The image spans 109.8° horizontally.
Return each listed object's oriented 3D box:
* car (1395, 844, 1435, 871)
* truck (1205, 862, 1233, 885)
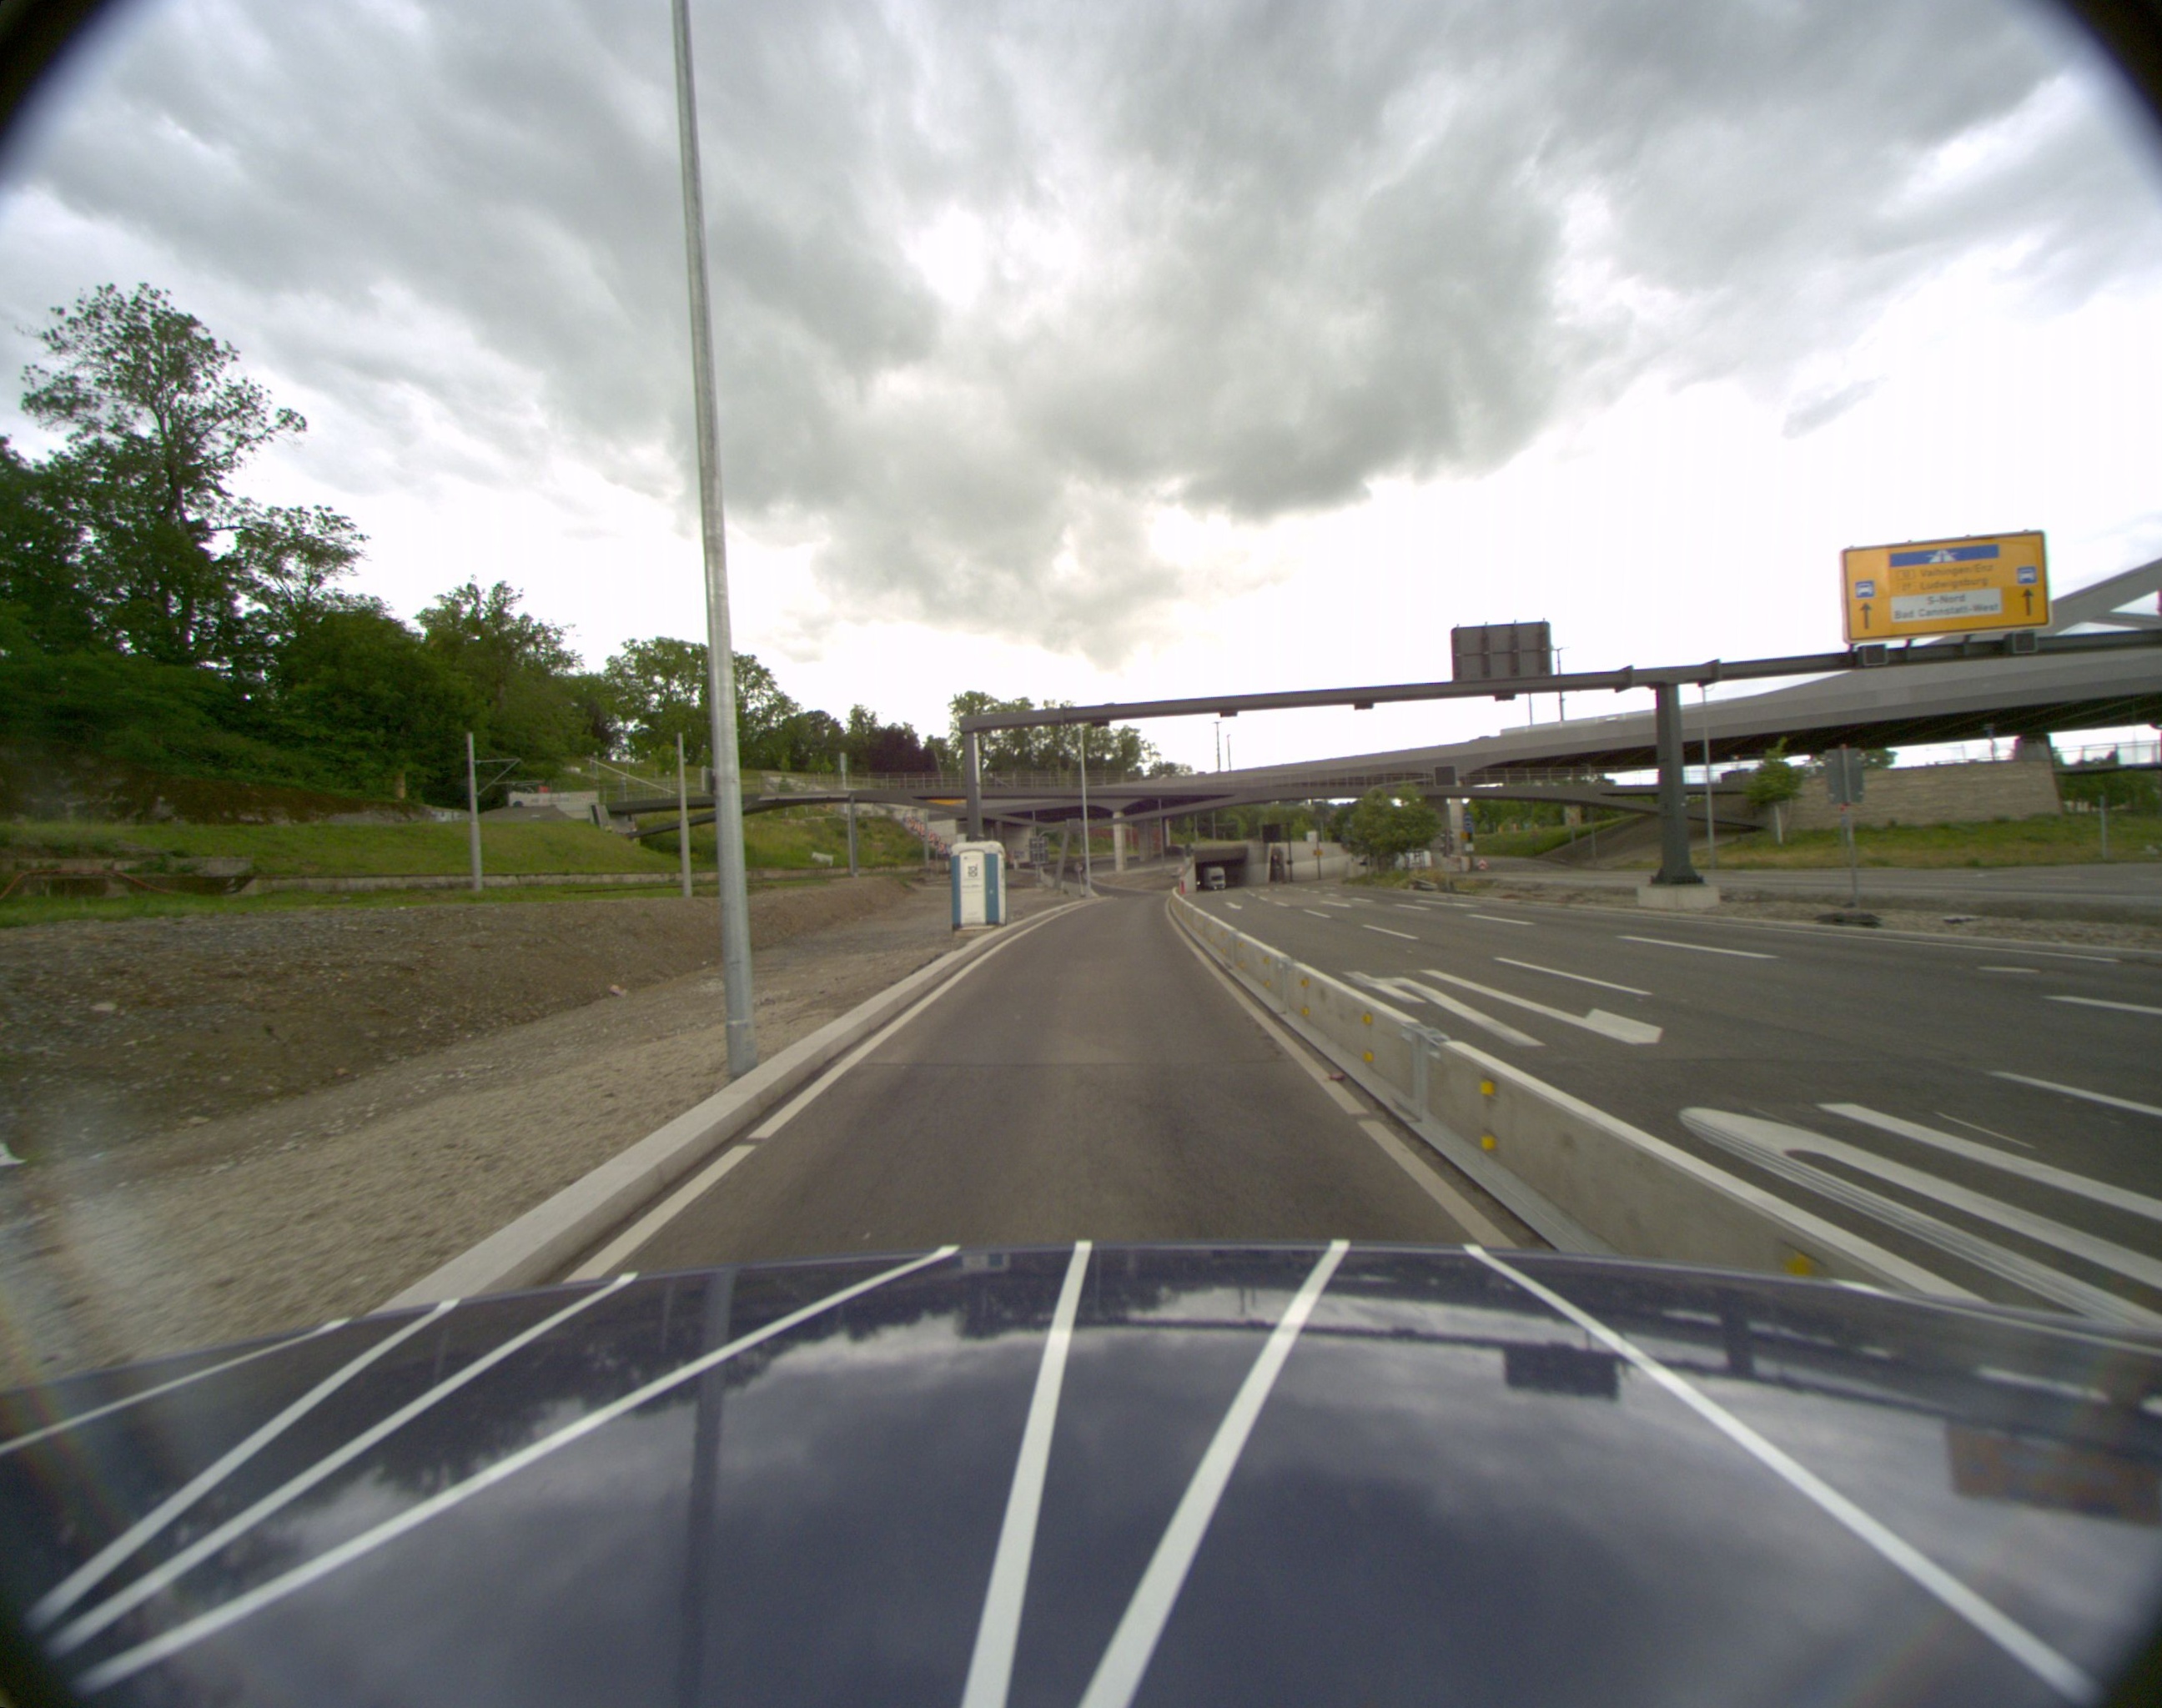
[{"bbox_3d":[25.083,0.309,57.192,1.829,1.795,3.806,-3,-2,10],"label":"car"},{"bbox_3d":[20.017,2.784,110.356,2.748,3.108,8.122,-5,-1,3],"label":"truck"}]
